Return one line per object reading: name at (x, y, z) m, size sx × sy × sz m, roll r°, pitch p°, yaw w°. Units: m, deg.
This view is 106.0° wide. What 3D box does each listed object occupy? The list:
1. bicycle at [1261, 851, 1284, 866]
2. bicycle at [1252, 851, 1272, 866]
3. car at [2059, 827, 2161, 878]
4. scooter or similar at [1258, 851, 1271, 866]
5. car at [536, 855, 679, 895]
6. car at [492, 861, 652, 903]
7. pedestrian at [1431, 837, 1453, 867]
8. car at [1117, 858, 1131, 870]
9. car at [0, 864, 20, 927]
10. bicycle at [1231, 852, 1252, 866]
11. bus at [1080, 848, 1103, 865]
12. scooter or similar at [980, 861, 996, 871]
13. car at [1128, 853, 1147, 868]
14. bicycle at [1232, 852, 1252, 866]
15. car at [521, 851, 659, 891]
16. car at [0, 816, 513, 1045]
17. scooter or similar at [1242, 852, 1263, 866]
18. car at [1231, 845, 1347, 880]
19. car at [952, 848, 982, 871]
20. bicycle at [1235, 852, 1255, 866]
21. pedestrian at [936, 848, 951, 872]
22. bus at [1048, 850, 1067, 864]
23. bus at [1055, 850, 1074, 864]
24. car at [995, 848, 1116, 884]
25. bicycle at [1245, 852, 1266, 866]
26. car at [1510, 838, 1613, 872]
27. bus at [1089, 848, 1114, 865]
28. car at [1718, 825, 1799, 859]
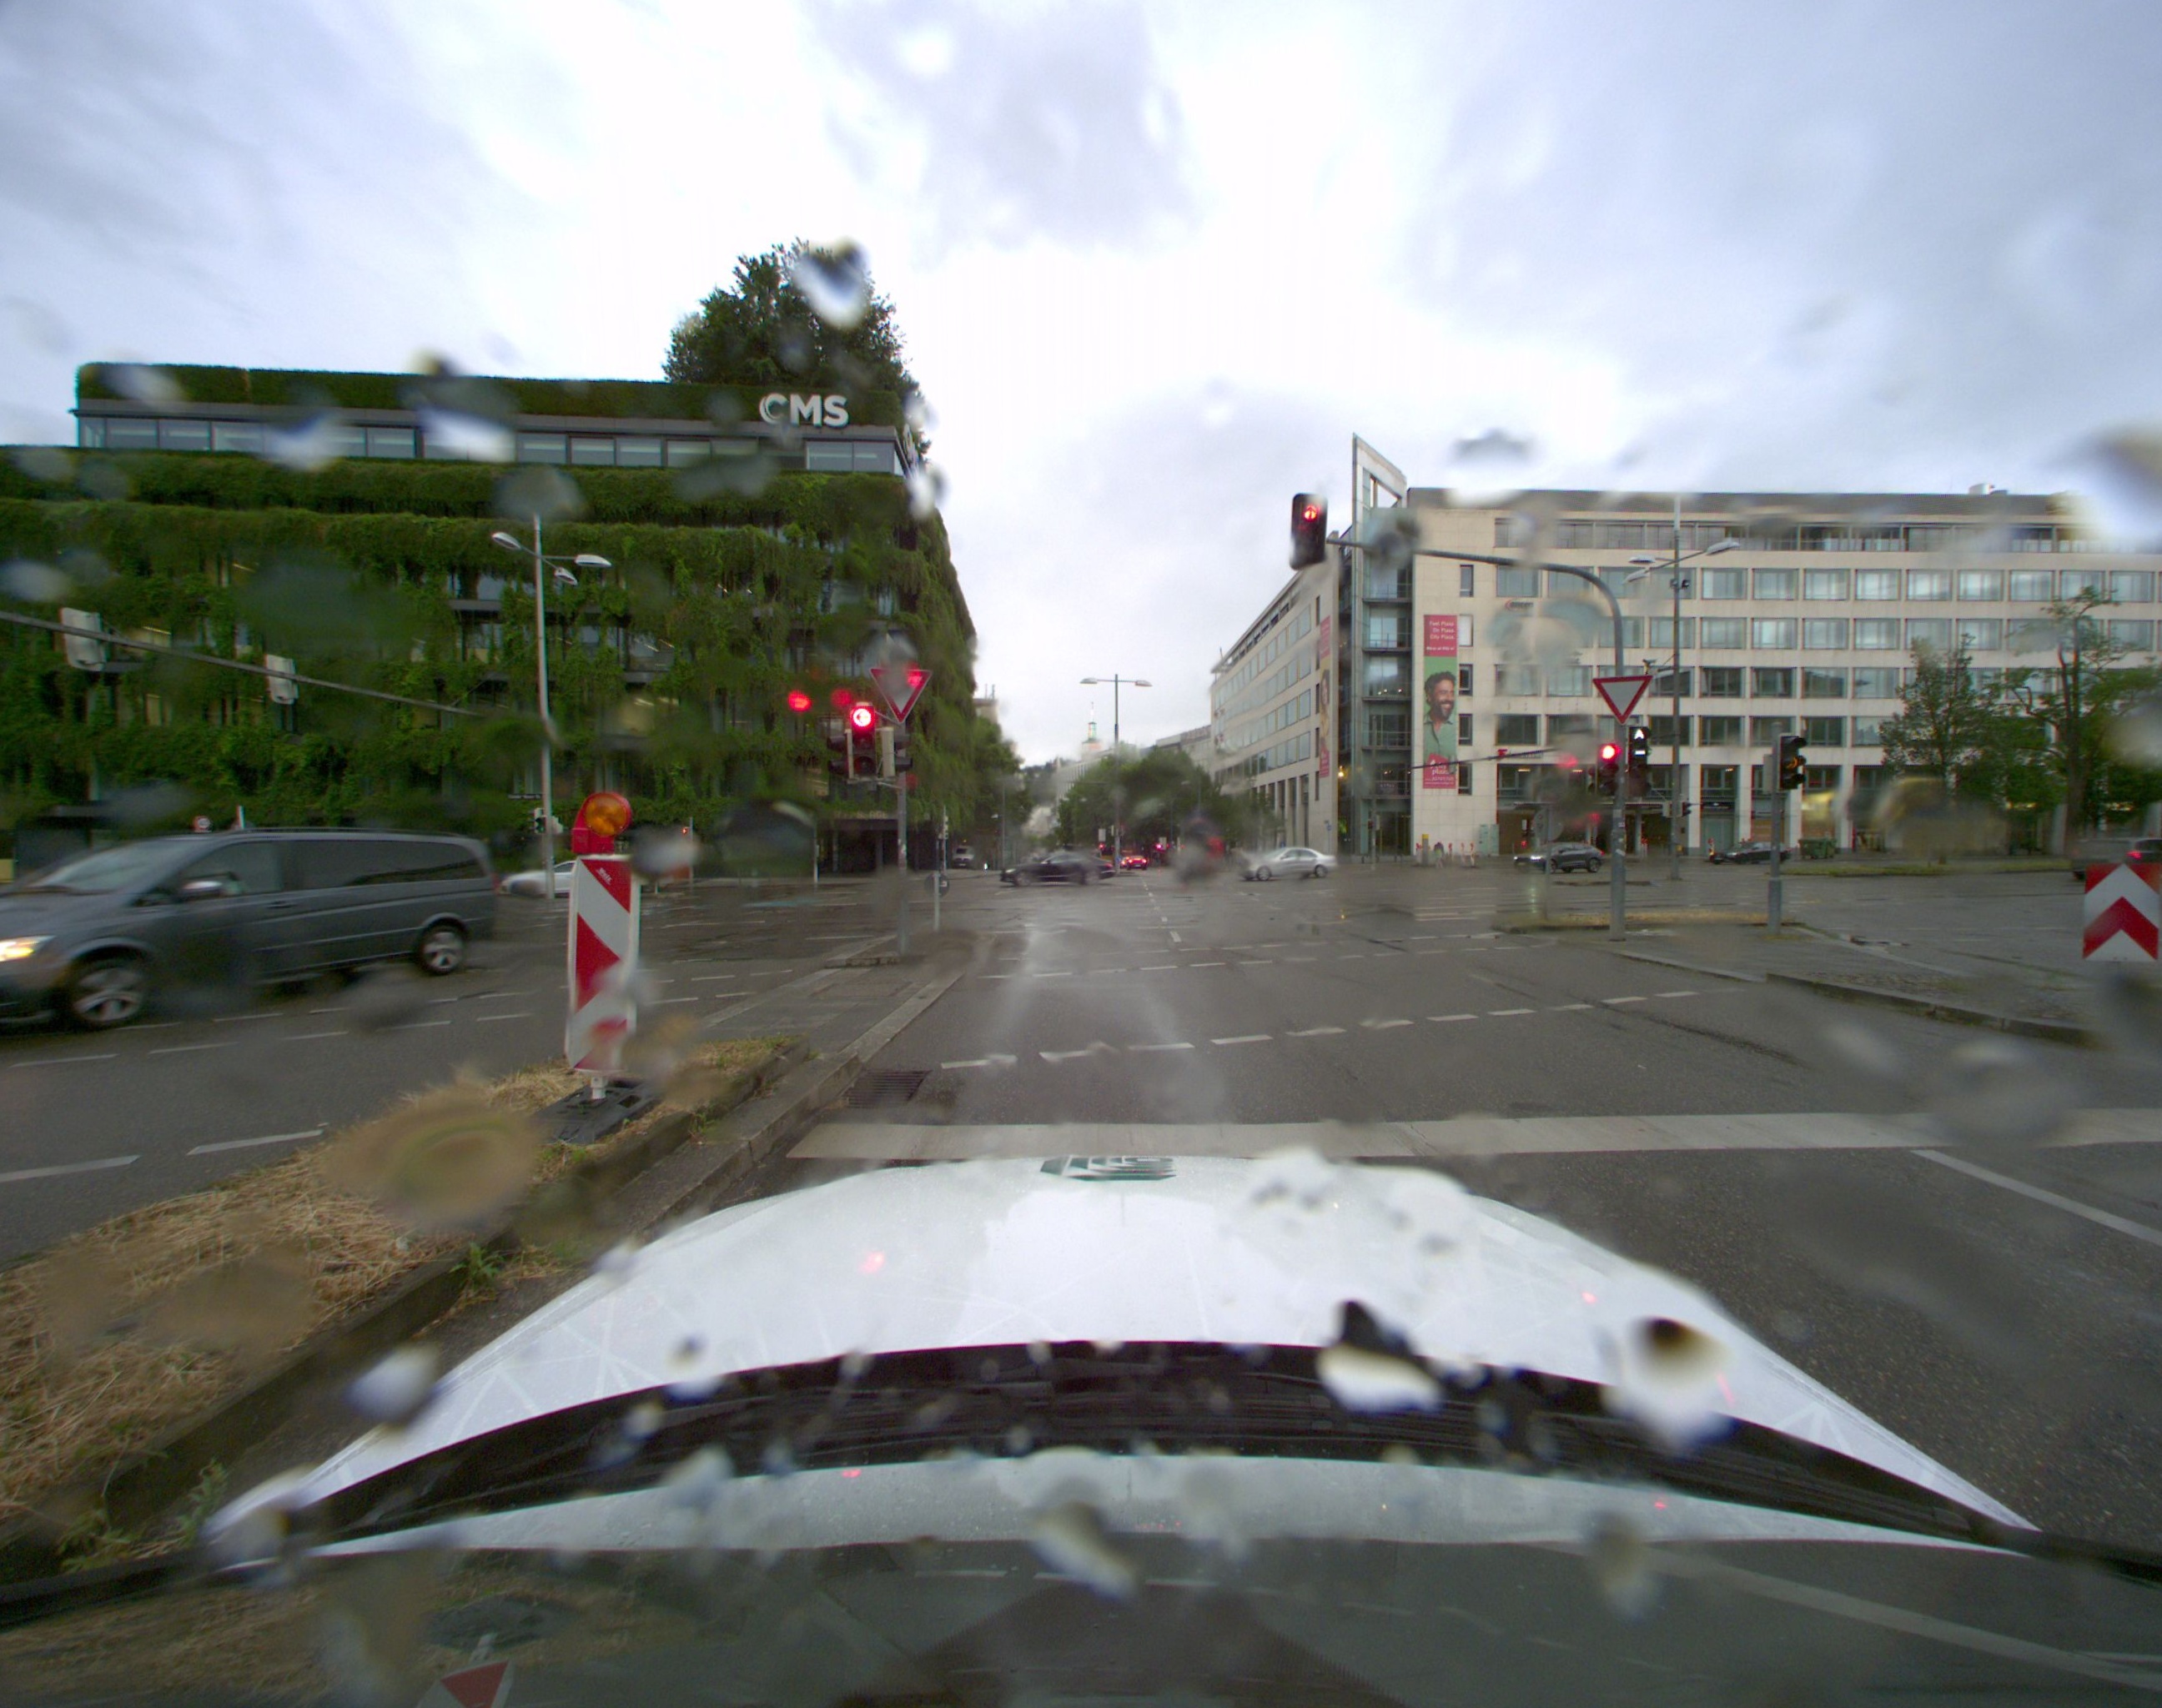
bicycle at (15.199, 0.367, 64.654) m, size 1.607 × 1.194 × 0.590 m, roll -1°, pitch -1°, yaw 27°
bicycle at (14.727, 0.383, 66.218) m, size 0.588 × 1.194 × 1.768 m, roll 0°, pitch -1°, yaw -26°
car at (37.633, -0.079, 29.081) m, size 3.992 × 1.695 × 1.926 m, roll -1°, pitch 0°, yaw -14°
scooter or similar at (14.418, 0.367, 63.988) m, size 0.951 × 1.194 × 0.458 m, roll -1°, pitch -1°, yaw 42°
car at (-19.212, 0.828, 33.252) m, size 4.690 × 1.512 × 1.802 m, roll 0°, pitch -1°, yaw -14°
car at (-18.839, 1.020, 30.397) m, size 4.690 × 1.512 × 1.802 m, roll 0°, pitch -1°, yaw -14°
pedestrian at (21.871, -0.127, 49.399) m, size 0.958 × 1.816 × 0.837 m, roll 0°, pitch -1°, yaw 1°
car at (5.577, 1.286, 106.851) m, size 1.775 × 1.508 × 4.001 m, roll 0°, pitch -1°, yaw 2°
car at (-27.340, 1.001, 18.314) m, size 3.981 × 1.475 × 1.996 m, roll -1°, pitch 0°, yaw -6°
bicycle at (14.294, 0.438, 72.612) m, size 1.770 × 1.194 × 0.587 m, roll 0°, pitch -1°, yaw 3°
bus at (1.979, 0.429, 153.289) m, size 2.631 × 2.995 × 7.415 m, roll -1°, pitch 0°, yaw -13°
scooter or similar at (-9.431, 1.180, 82.954) m, size 0.616 × 1.004 × 1.671 m, roll -1°, pitch 0°, yaw 40°
car at (5.680, 0.630, 82.584) m, size 1.775 × 1.508 × 4.001 m, roll 0°, pitch -1°, yaw 2°
bicycle at (14.469, 0.442, 73.242) m, size 1.770 × 1.194 × 0.587 m, roll 0°, pitch -1°, yaw 3°
car at (-21.042, 0.726, 35.091) m, size 4.688 × 1.626 × 1.802 m, roll 1°, pitch -1°, yaw -13°
car at (-9.579, 0.641, 9.354) m, size 1.980 × 1.927 × 4.981 m, roll -1°, pitch 0°, yaw 12°
scooter or similar at (14.906, 0.419, 70.804) m, size 1.770 × 1.194 × 0.587 m, roll 0°, pitch -1°, yaw 3°
car at (9.384, 0.391, 36.936) m, size 4.720 × 1.477 × 1.993 m, roll 1°, pitch 0°, yaw -11°
car at (-9.561, 0.472, 68.742) m, size 1.863 × 1.839 × 4.001 m, roll 0°, pitch -1°, yaw 2°
bicycle at (14.936, 0.446, 74.149) m, size 1.770 × 1.194 × 0.587 m, roll 0°, pitch -1°, yaw 3°
pedestrian at (-9.539, 0.436, 56.527) m, size 0.930 × 1.644 × 0.774 m, roll 0°, pitch -1°, yaw 1°
bus at (-5.248, 0.692, 180.724) m, size 2.631 × 2.995 × 7.415 m, roll -1°, pitch 0°, yaw -13°
bus at (-3.552, 0.631, 173.581) m, size 2.631 × 2.995 × 7.294 m, roll -1°, pitch 0°, yaw -13°
car at (-1.115, 0.514, 34.587) m, size 4.855 × 1.477 × 1.989 m, roll 0°, pitch -2°, yaw -15°
bicycle at (15.285, 0.421, 71.418) m, size 1.770 × 1.194 × 0.587 m, roll 0°, pitch -1°, yaw 3°
car at (23.970, 0.051, 40.671) m, size 4.480 × 1.609 × 1.823 m, roll 0°, pitch -1°, yaw -14°
bus at (3.672, 0.410, 146.096) m, size 2.631 × 2.995 × 7.415 m, roll -1°, pitch 0°, yaw -13°
car at (42.433, -0.735, 50.992) m, size 4.662 × 2.014 × 1.540 m, roll 0°, pitch -1°, yaw -16°
